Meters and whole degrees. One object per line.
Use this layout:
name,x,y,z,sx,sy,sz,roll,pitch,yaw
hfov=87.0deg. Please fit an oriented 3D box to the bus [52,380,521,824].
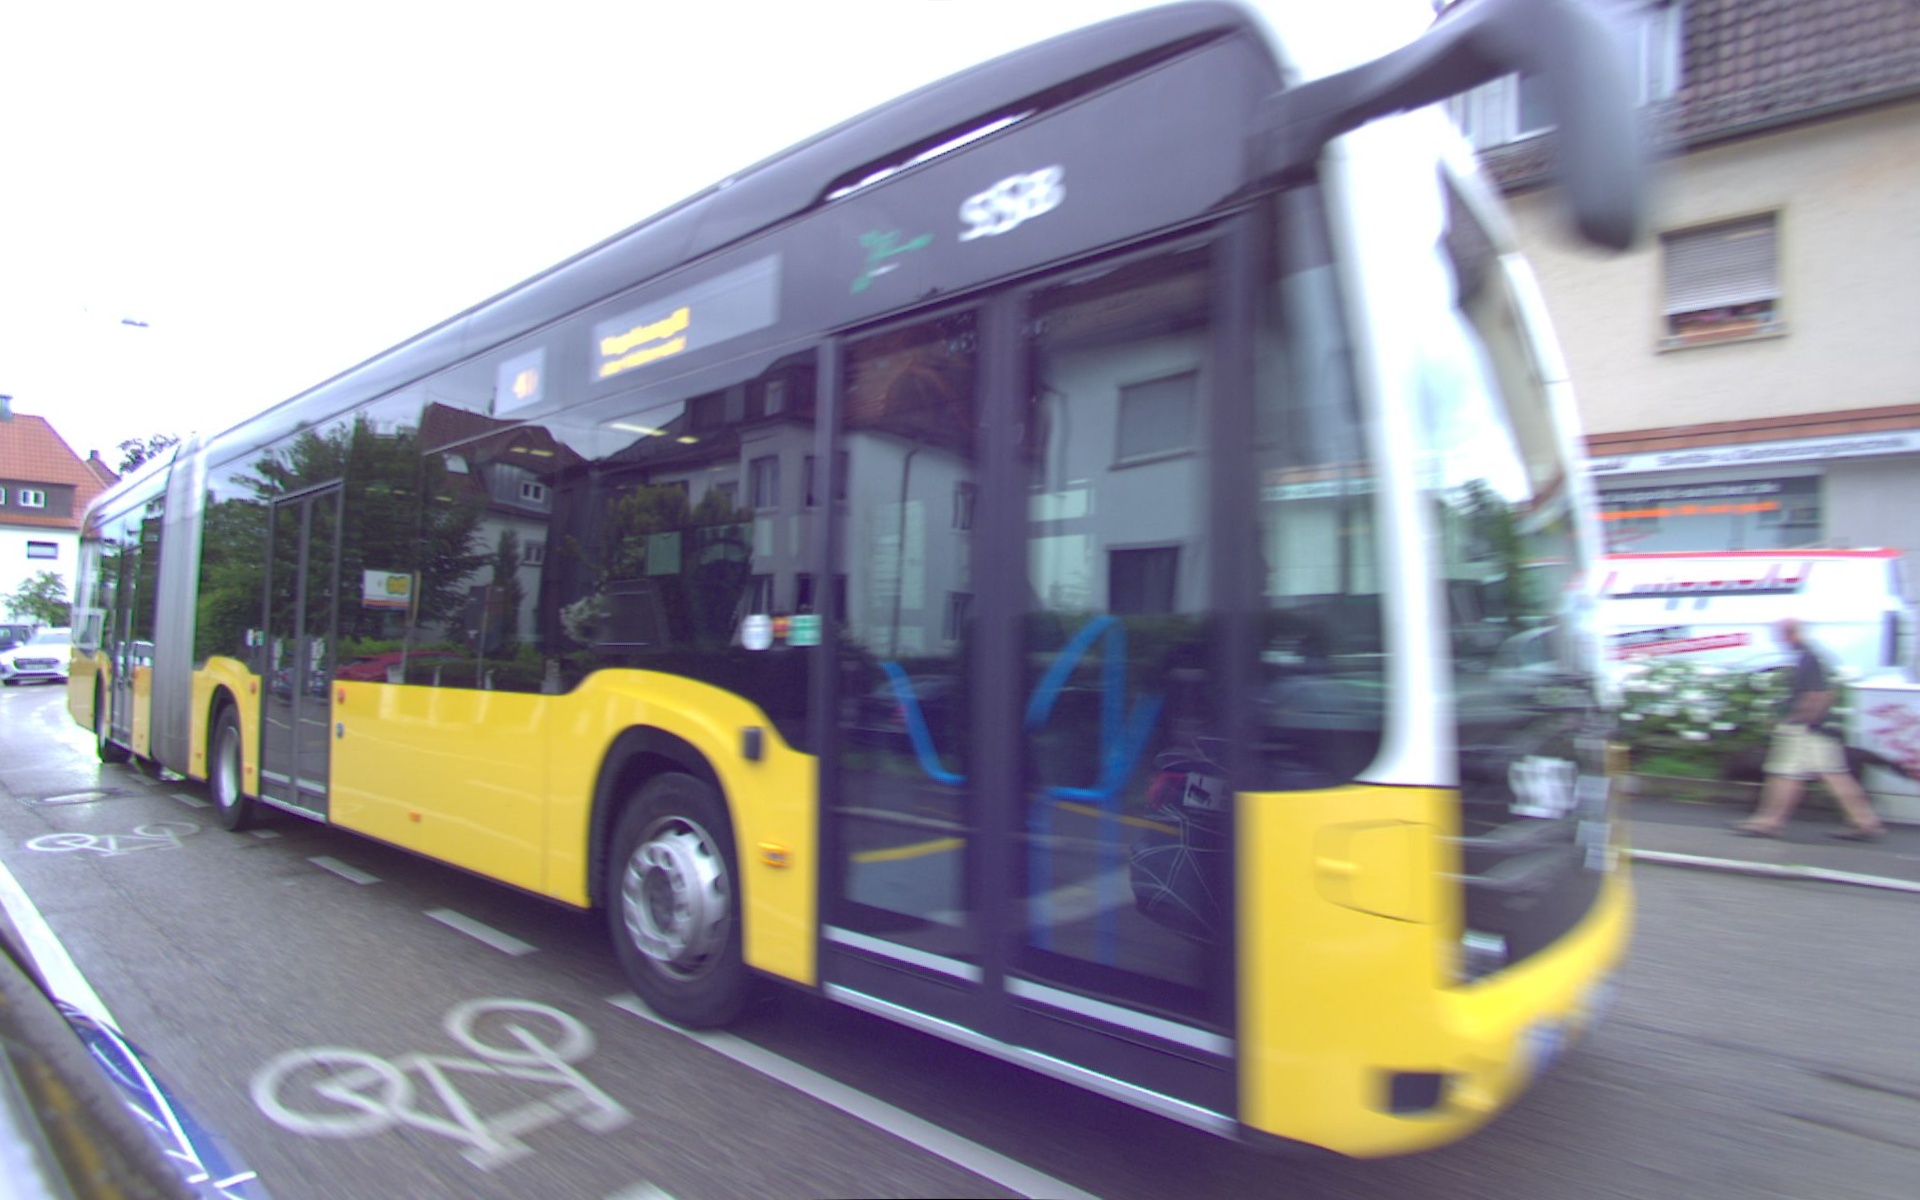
bus,-8.287,0.179,11.773,8.682,3.424,2.647,-2,-4,44

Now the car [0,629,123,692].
car,-26.549,1.726,29.896,1.765,1.712,3.903,0,-1,-23

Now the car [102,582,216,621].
car,-45.210,0.105,57.275,4.665,1.823,1.948,5,-4,-29

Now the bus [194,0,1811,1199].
bus,-1.310,-0.099,5.574,9.037,3.424,2.869,-2,-4,42

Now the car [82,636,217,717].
car,-16.882,1.539,21.104,1.968,1.491,4.493,2,-4,-39

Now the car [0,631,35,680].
car,-41.165,2.249,41.166,4.838,1.962,1.947,2,-2,-28

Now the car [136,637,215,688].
car,-24.745,1.968,32.037,1.703,1.491,4.050,2,-4,-35

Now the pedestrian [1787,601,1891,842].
pedestrian,6.313,0.843,7.270,0.448,1.648,0.414,-1,-1,-34
